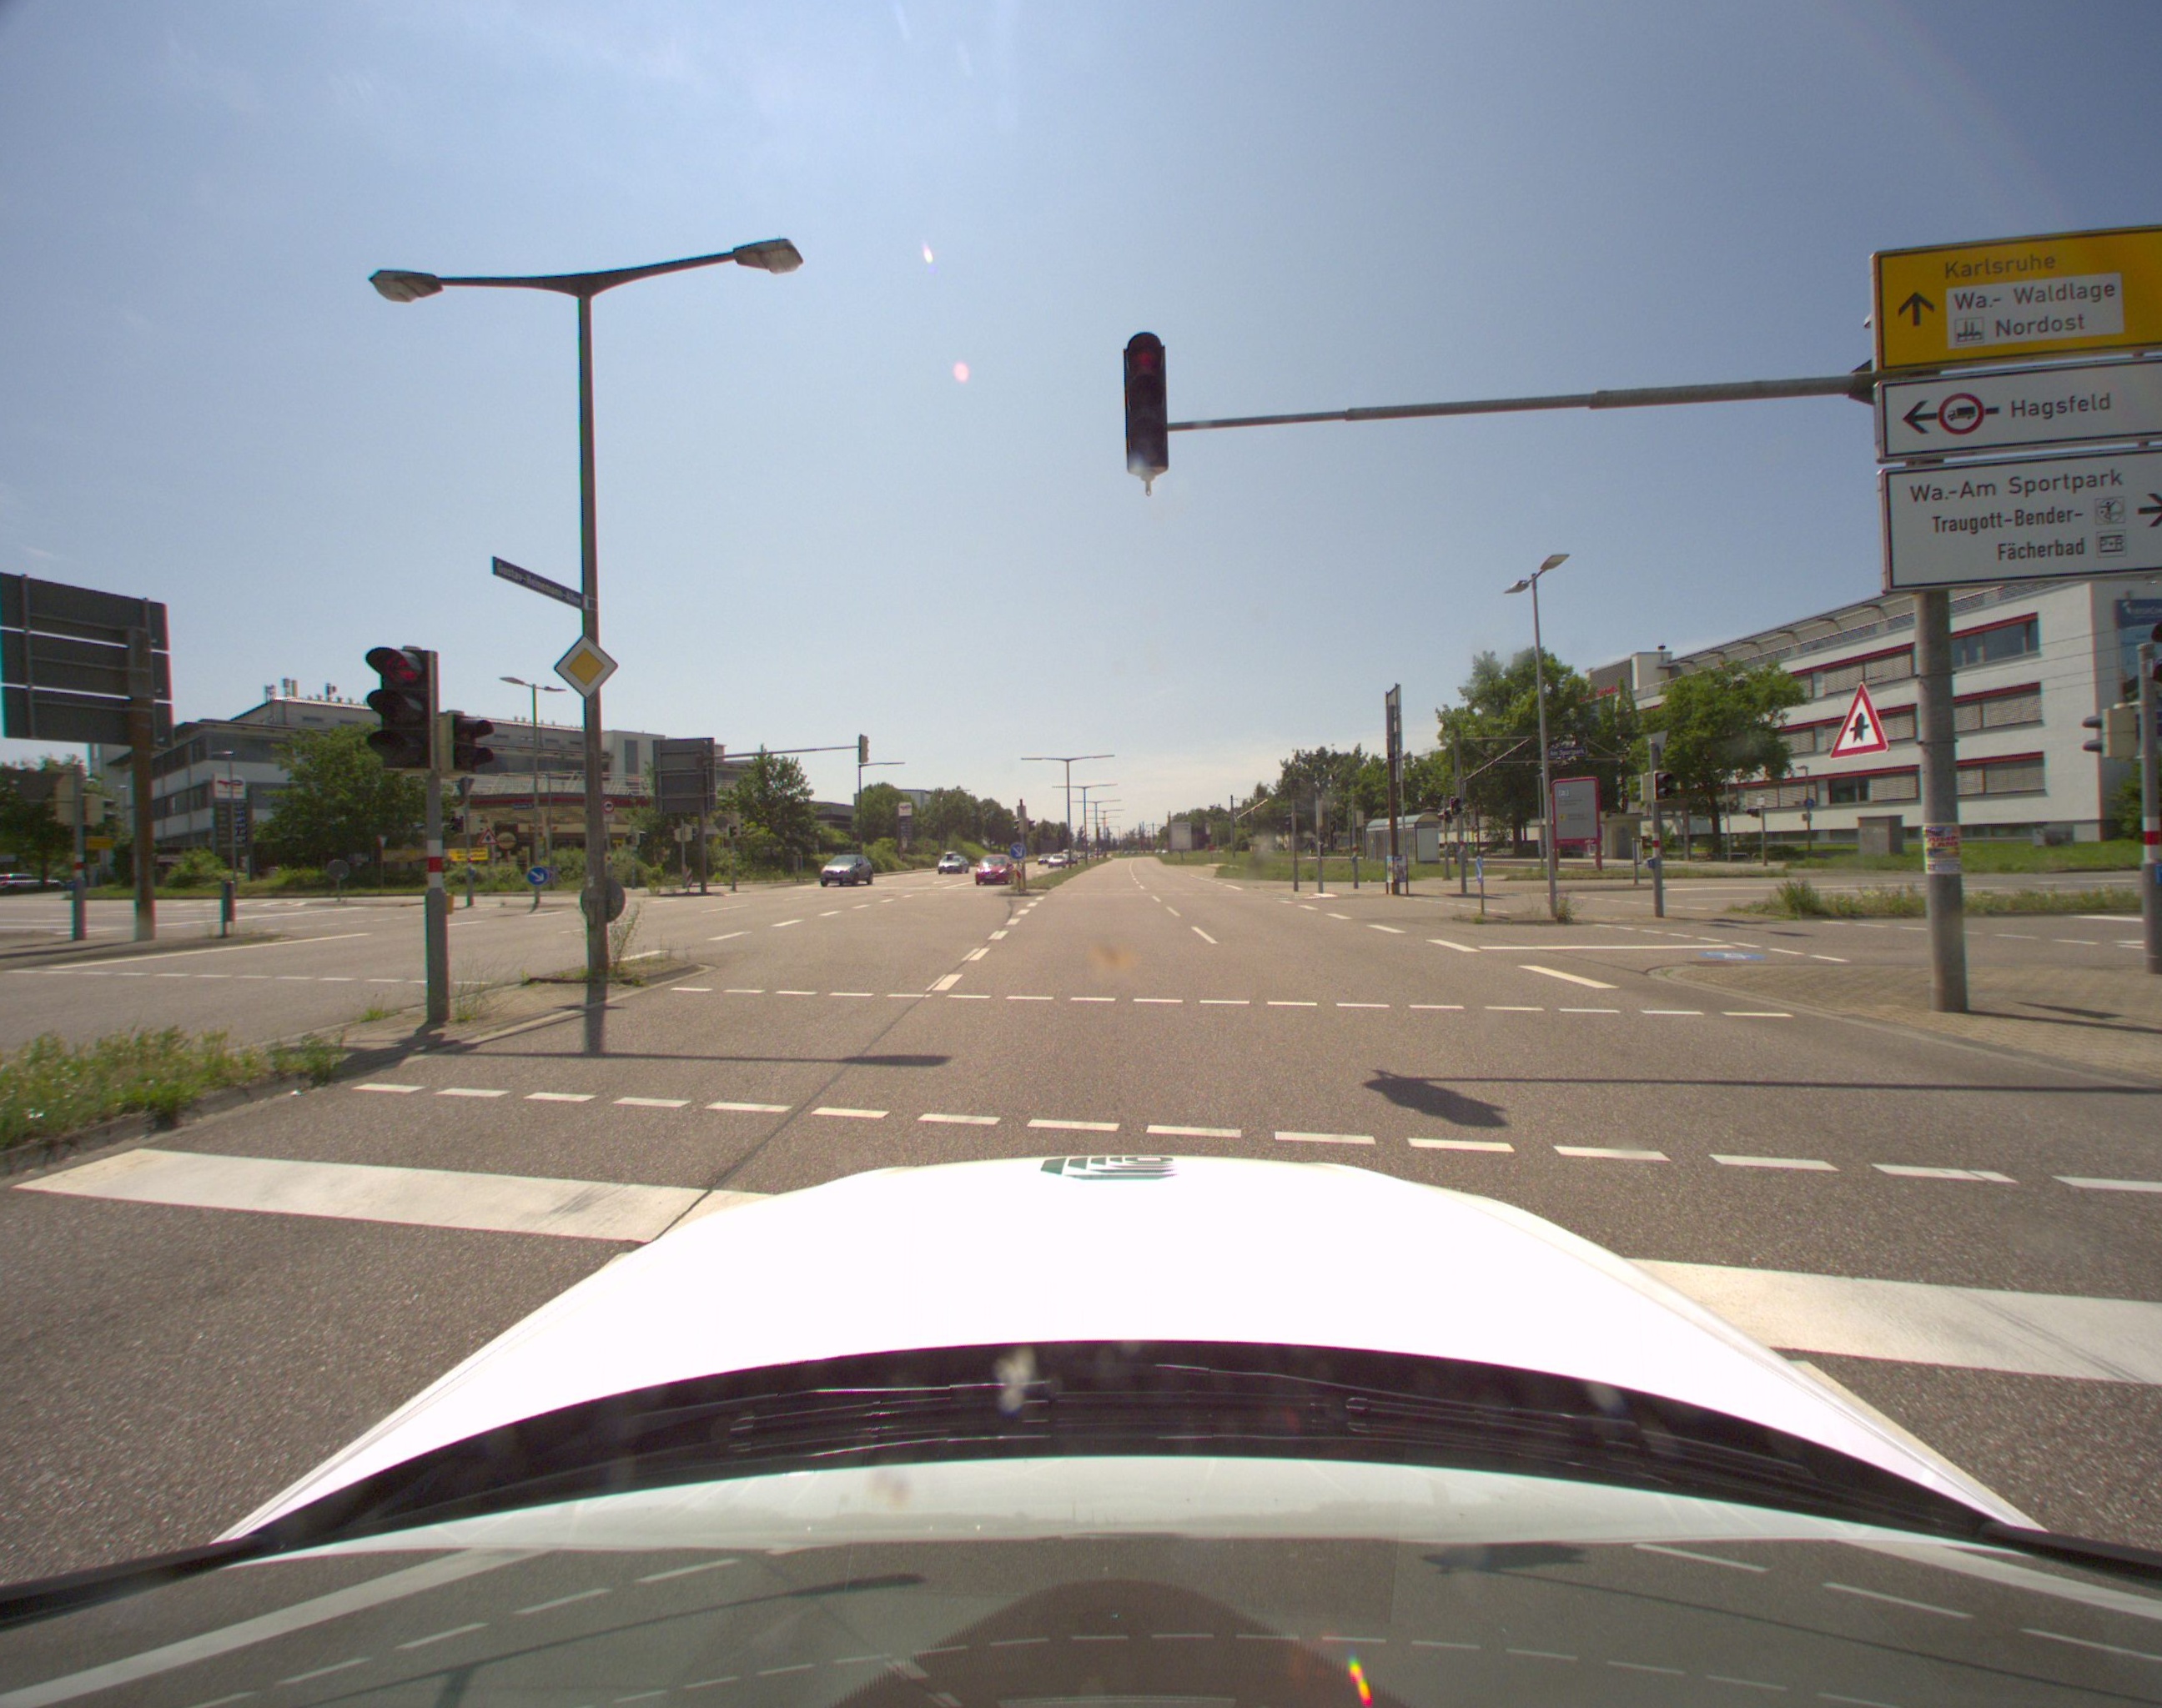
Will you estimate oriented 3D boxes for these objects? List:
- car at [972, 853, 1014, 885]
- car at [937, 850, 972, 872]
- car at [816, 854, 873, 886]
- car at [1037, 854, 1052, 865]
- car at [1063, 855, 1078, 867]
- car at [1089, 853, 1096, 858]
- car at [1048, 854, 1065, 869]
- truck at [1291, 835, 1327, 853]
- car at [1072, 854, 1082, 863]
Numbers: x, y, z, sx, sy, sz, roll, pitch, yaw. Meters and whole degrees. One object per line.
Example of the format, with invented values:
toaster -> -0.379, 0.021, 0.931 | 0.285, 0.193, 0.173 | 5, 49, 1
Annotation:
car -> -4.512, 0.735, 42.210 | 1.652, 1.490, 4.001 | -2, 0, 1
car -> -10.374, 0.550, 67.222 | 1.958, 1.750, 5.023 | -2, 0, 1
car -> -12.017, 0.793, 41.599 | 1.652, 1.539, 4.001 | 0, 0, 1
car -> -4.962, 0.744, 109.653 | 1.631, 1.429, 4.054 | -2, 0, 2
car -> -1.284, 0.835, 101.304 | 1.669, 1.434, 4.192 | -1, 0, 2
car -> 3.567, 0.532, 252.109 | 1.722, 1.458, 4.571 | -2, 0, 5
car -> -2.526, 0.713, 83.716 | 1.555, 1.423, 3.855 | -1, 1, 1
truck -> 41.107, -1.833, 146.855 | 5.831, 2.843, 2.316 | -3, -1, -5
car -> -0.905, 1.009, 182.508 | 1.988, 2.014, 3.997 | 0, -1, -1
